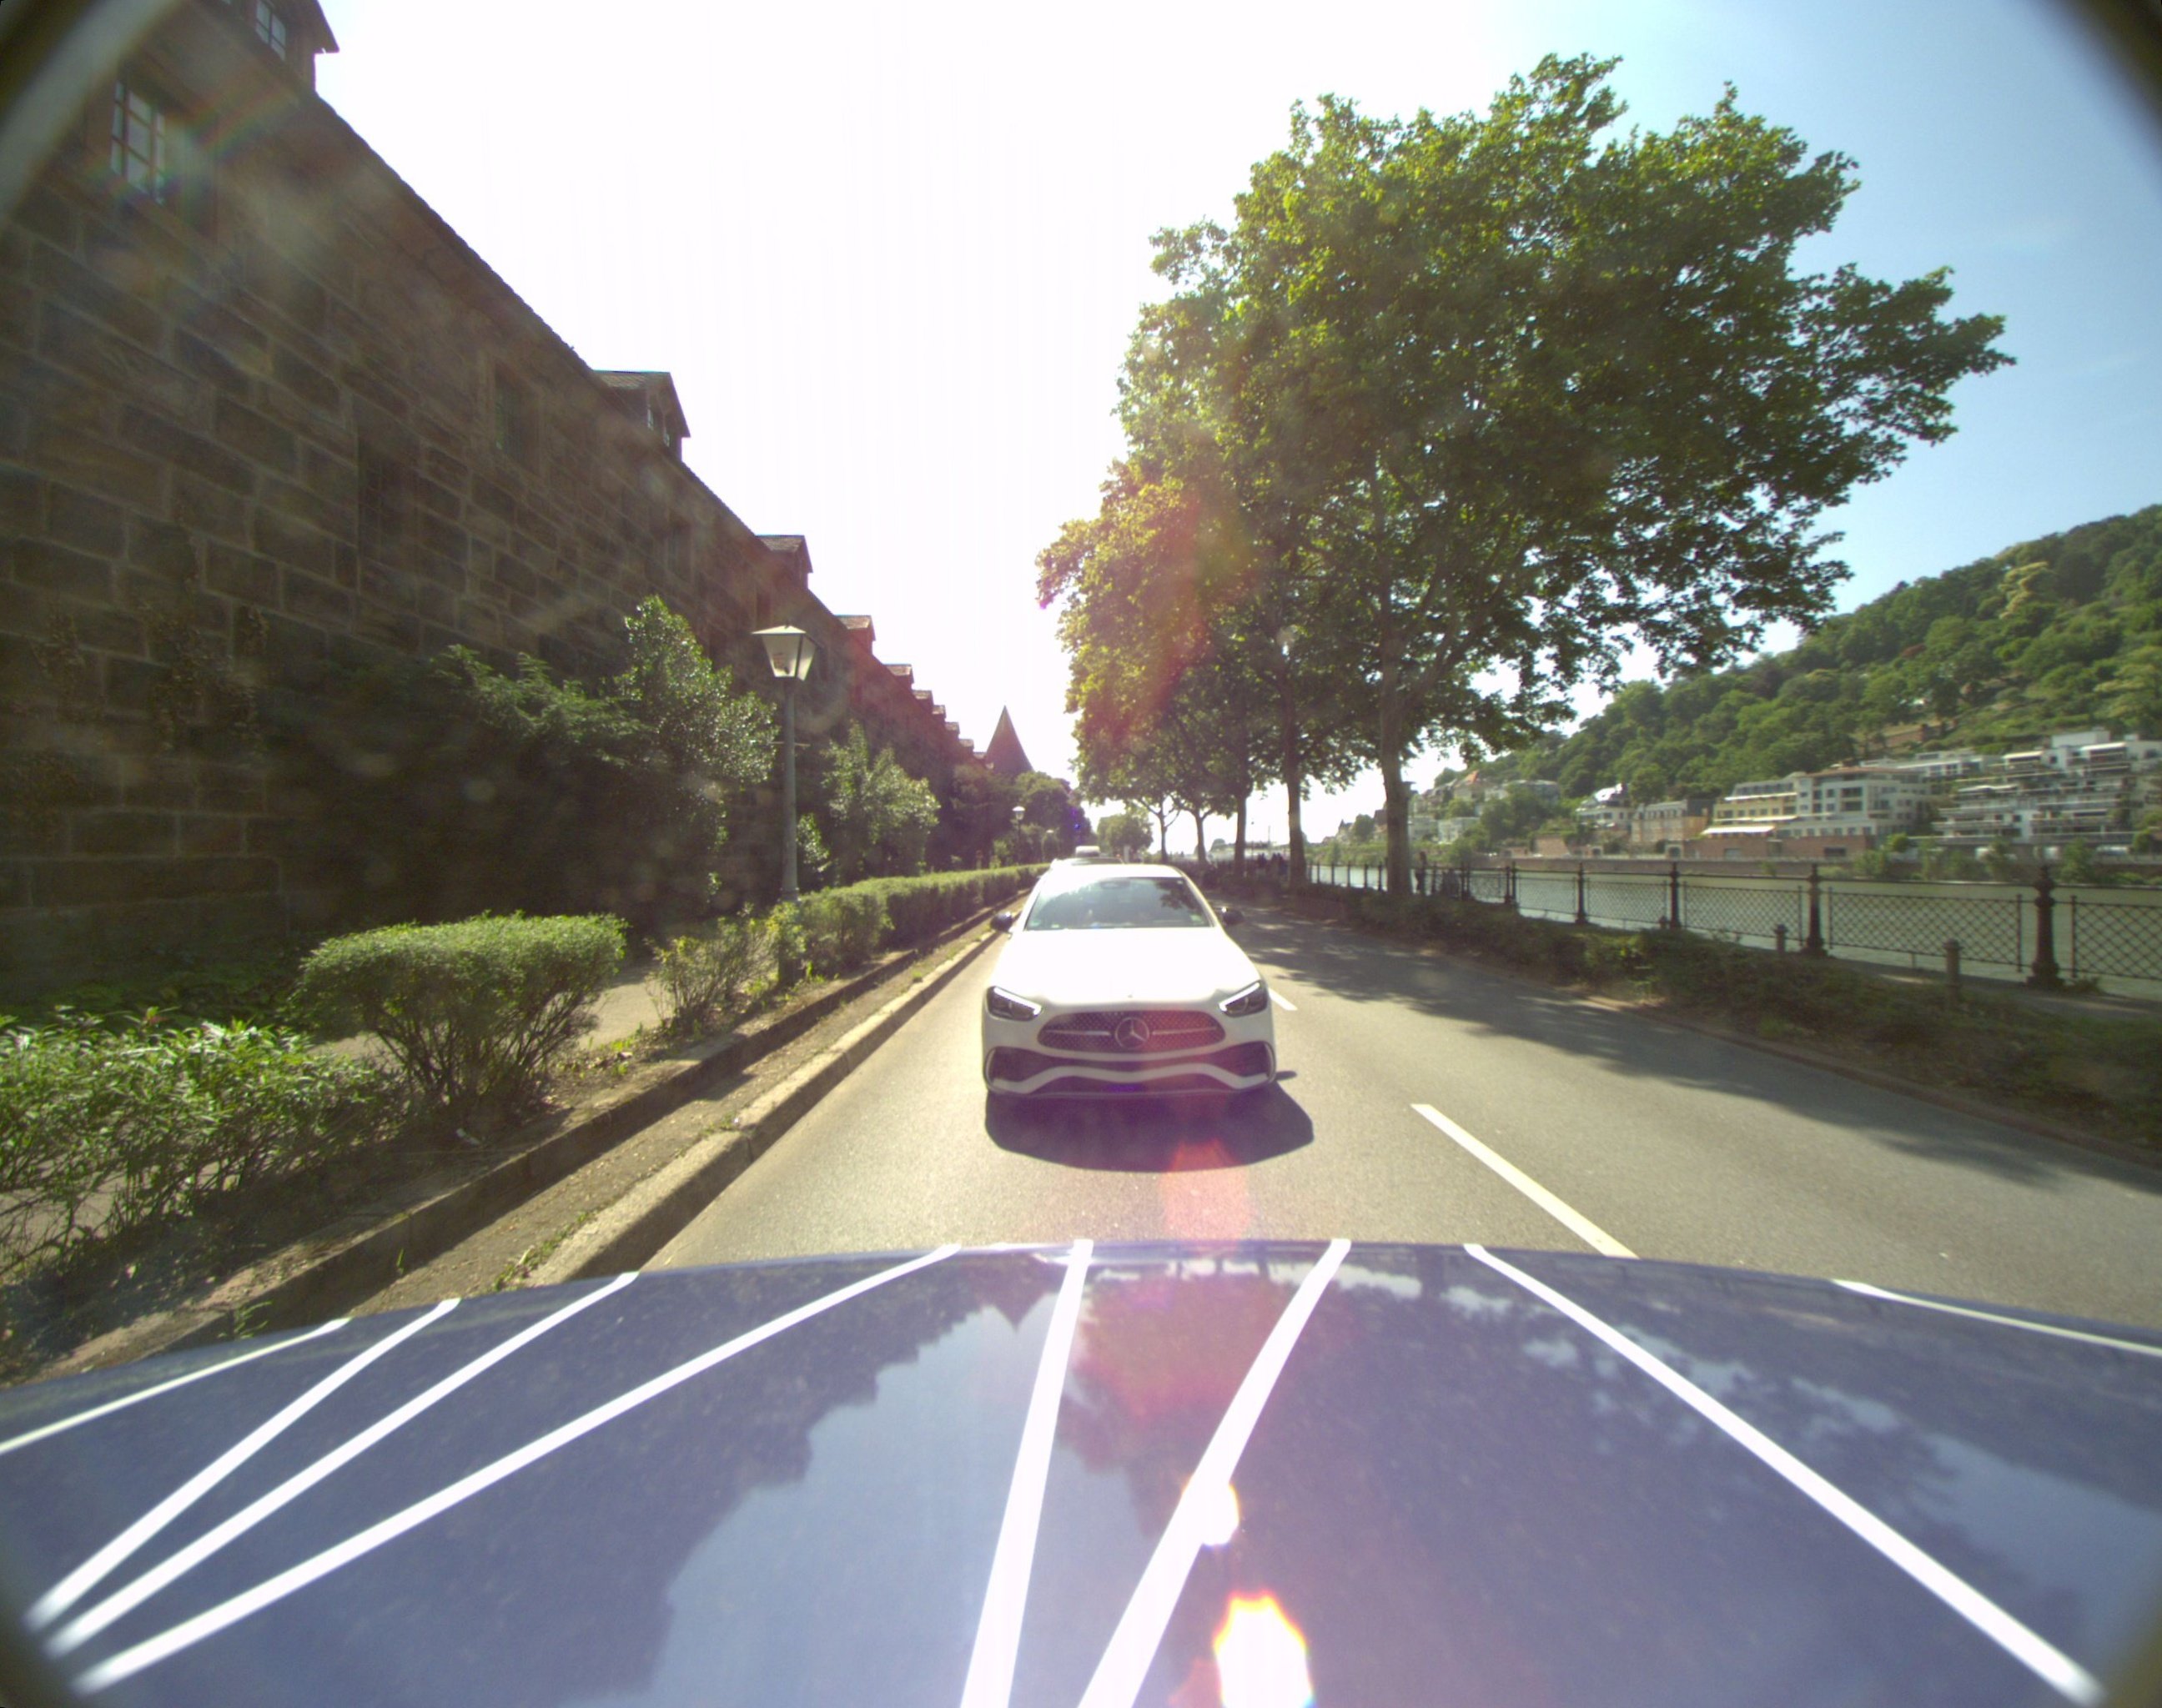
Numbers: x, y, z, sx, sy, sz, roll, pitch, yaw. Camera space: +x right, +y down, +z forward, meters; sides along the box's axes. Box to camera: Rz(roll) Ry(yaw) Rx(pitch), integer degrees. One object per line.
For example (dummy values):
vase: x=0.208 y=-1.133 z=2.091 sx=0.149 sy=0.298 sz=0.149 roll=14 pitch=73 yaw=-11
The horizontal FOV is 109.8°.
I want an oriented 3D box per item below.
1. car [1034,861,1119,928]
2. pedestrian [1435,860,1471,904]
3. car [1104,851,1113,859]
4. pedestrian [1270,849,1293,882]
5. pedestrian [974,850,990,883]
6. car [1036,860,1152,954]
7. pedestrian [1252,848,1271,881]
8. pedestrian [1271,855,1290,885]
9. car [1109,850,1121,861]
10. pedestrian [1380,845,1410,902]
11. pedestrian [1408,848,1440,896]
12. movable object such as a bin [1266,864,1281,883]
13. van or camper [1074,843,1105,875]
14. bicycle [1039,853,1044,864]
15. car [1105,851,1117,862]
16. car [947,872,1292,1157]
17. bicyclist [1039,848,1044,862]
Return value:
car: x=-0.076 y=0.919 z=19.017 sx=1.833 sy=1.395 sz=4.424 roll=-2 pitch=0 yaw=1
pedestrian: x=12.093 y=0.898 z=24.701 sx=0.768 sy=1.379 sz=0.770 roll=1 pitch=0 yaw=0
car: x=6.783 y=0.280 z=188.024 sx=2.165 sy=2.002 sz=4.000 roll=-2 pitch=1 yaw=1
pedestrian: x=12.339 y=0.711 z=46.772 sx=1.047 sy=2.002 sz=1.036 roll=-1 pitch=1 yaw=31
pedestrian: x=-4.687 y=0.593 z=35.937 sx=0.643 sy=1.555 sz=0.563 roll=-2 pitch=1 yaw=1
car: x=0.235 y=0.879 z=14.401 sx=1.833 sy=1.428 sz=4.270 roll=-2 pitch=0 yaw=1
pedestrian: x=10.248 y=0.588 z=43.123 sx=0.806 sy=1.839 sz=0.929 roll=-2 pitch=1 yaw=1
pedestrian: x=11.323 y=0.883 z=43.158 sx=0.897 sy=1.625 sz=1.059 roll=-2 pitch=1 yaw=6
car: x=6.426 y=0.302 z=142.660 sx=2.165 sy=2.002 sz=4.000 roll=-2 pitch=1 yaw=1
pedestrian: x=10.641 y=0.640 z=25.778 sx=0.767 sy=1.889 sz=0.771 roll=1 pitch=1 yaw=8
pedestrian: x=12.876 y=0.667 z=28.540 sx=0.777 sy=1.748 sz=0.830 roll=1 pitch=1 yaw=0
movable object such as a bin: x=11.178 y=1.115 z=44.200 sx=0.703 sy=1.043 sz=0.783 roll=-2 pitch=1 yaw=4
van or camper: x=0.640 y=0.400 z=60.143 sx=2.313 sy=2.358 sz=5.035 roll=1 pitch=0 yaw=0
bicycle: x=-4.318 y=0.525 z=83.137 sx=0.406 sy=1.169 sz=1.576 roll=-2 pitch=1 yaw=-2
car: x=6.142 y=0.477 z=155.721 sx=2.165 sy=2.002 sz=4.000 roll=-2 pitch=1 yaw=1
car: x=0.239 y=0.930 z=6.274 sx=1.833 sy=1.395 sz=4.270 roll=-2 pitch=0 yaw=1
bicyclist: x=-4.332 y=0.131 z=83.203 sx=0.550 sy=1.513 sz=0.583 roll=-2 pitch=1 yaw=-1
